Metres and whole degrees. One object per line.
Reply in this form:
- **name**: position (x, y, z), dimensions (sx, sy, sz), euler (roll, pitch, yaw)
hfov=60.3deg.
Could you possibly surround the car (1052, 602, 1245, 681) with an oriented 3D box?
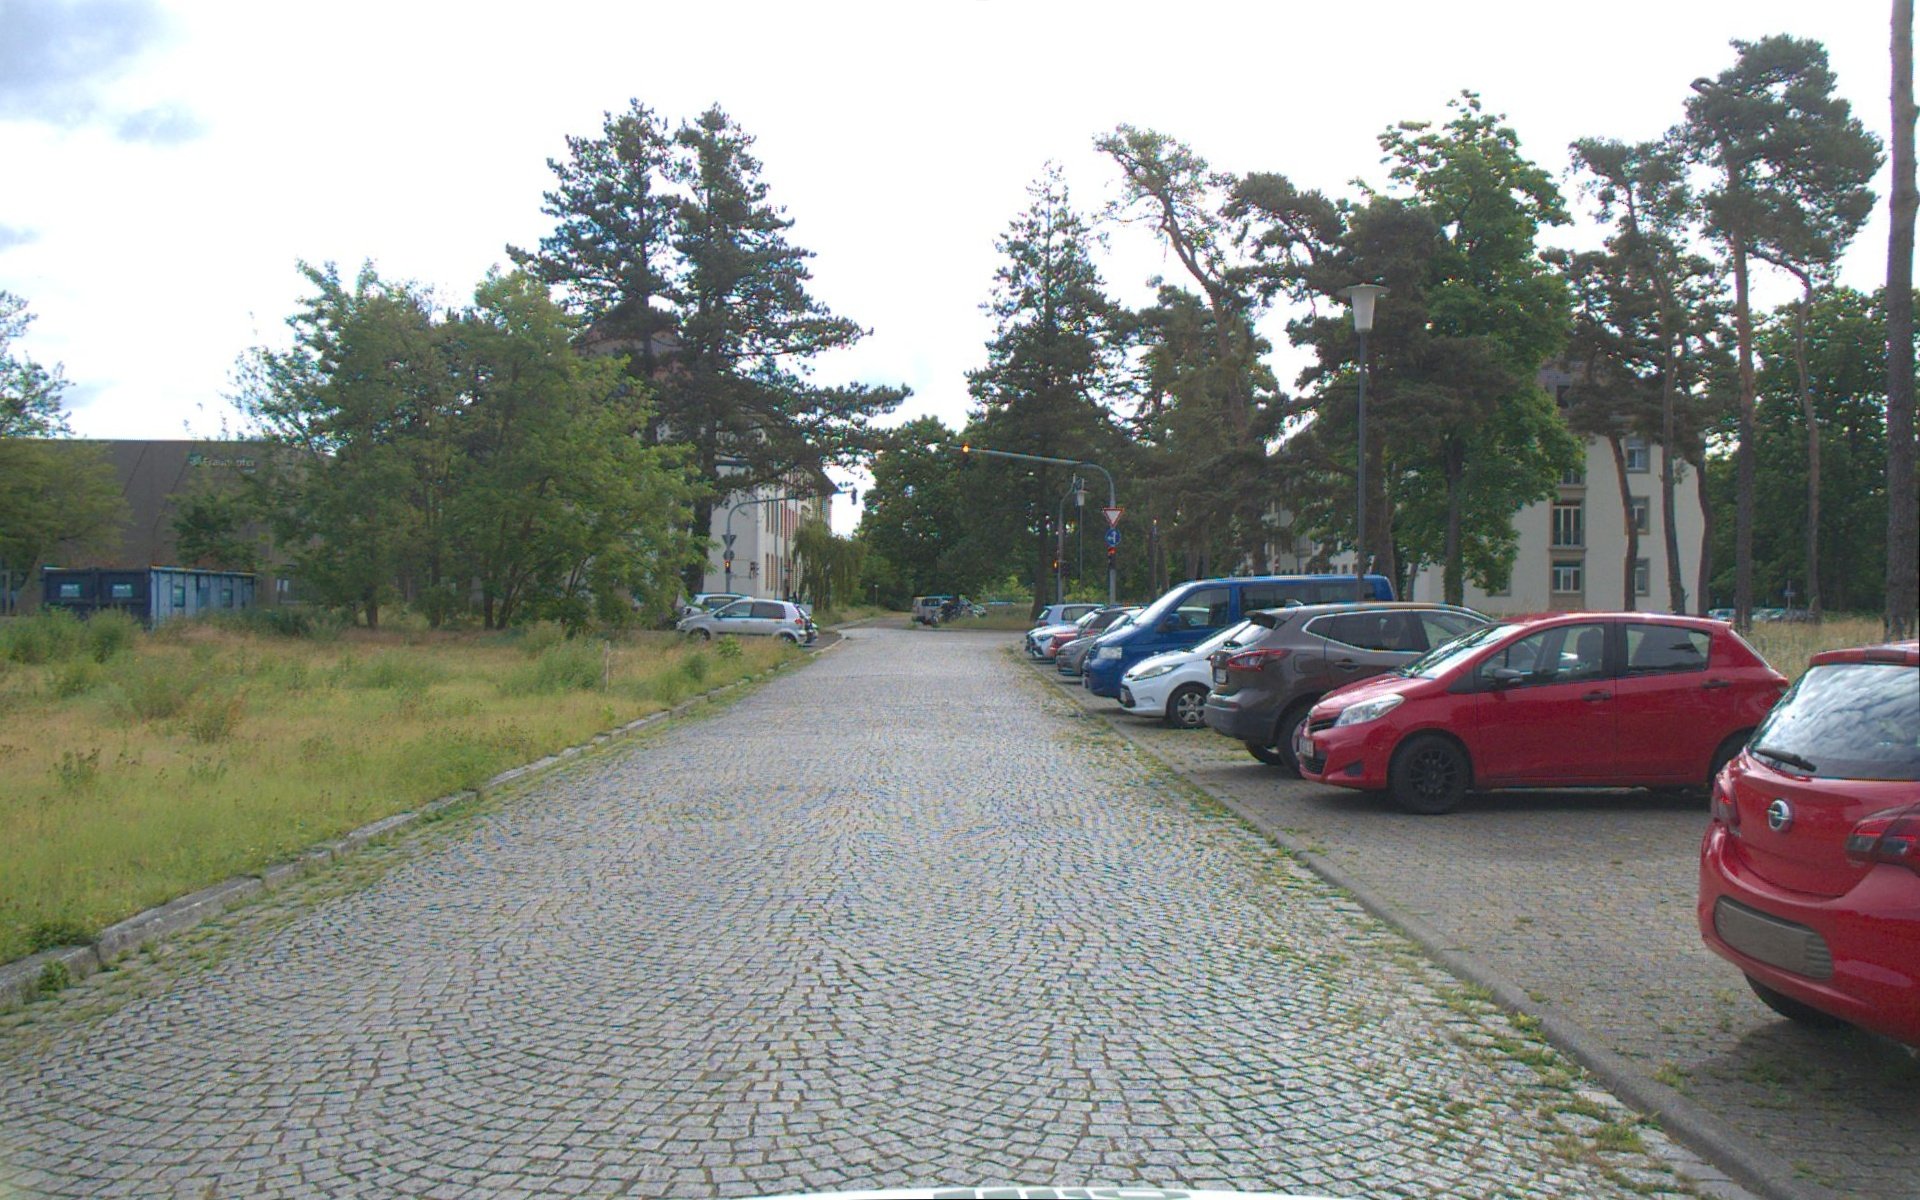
- **car**: position (3.716, 0.806, 32.893), dimensions (3.598, 1.475, 1.523), euler (-1, 0, -3)

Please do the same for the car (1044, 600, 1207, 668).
- **car**: position (3.833, 0.781, 38.590), dimensions (3.598, 1.475, 1.523), euler (-1, 0, -3)

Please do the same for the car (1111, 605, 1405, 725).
- **car**: position (3.944, 0.843, 22.247), dimensions (3.599, 1.475, 1.613), euler (-1, 0, -4)

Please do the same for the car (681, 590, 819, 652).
- **car**: position (-6.646, 0.664, 52.748), dimensions (4.176, 1.873, 1.743), euler (-1, -1, -2)

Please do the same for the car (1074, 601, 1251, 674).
- **car**: position (4.350, 0.800, 35.895), dimensions (3.598, 1.475, 1.523), euler (-1, 0, -3)

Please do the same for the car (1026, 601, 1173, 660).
- **car**: position (3.603, 0.794, 43.123), dimensions (3.601, 1.446, 1.522), euler (-1, 0, -6)

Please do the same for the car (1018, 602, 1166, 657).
- **car**: position (3.637, 0.806, 45.979), dimensions (3.891, 1.446, 1.618), euler (-1, 0, -6)

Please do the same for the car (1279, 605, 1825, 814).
- **car**: position (4.596, 0.820, 13.225), dimensions (3.715, 1.486, 1.750), euler (-1, 0, -1)

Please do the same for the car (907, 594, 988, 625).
- **car**: position (-0.864, 0.663, 115.375), dimensions (5.347, 2.049, 2.263), euler (1, 0, -10)

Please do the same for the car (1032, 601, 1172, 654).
- **car**: position (4.150, 0.796, 48.640), dimensions (3.891, 1.446, 1.618), euler (-1, 0, -6)

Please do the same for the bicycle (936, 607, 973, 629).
- **bicycle**: position (-0.328, 1.047, 97.474), dimensions (2.095, 1.236, 0.621), euler (1, 0, -6)

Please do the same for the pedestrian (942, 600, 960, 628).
- **pedestrian**: position (-0.528, 0.835, 97.814), dimensions (1.013, 1.642, 0.756), euler (1, 0, -6)

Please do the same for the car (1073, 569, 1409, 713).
- **car**: position (4.139, 0.593, 24.846), dimensions (4.659, 1.989, 1.930), euler (-1, 0, -3)

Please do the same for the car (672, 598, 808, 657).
- **car**: position (-6.250, 0.779, 47.352), dimensions (3.746, 1.600, 1.563), euler (-1, 0, -5)

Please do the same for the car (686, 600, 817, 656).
- **car**: position (-6.252, 0.823, 49.768), dimensions (3.744, 1.600, 1.564), euler (-1, 0, -2)

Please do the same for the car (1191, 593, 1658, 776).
- **car**: position (4.352, 0.764, 15.879), dimensions (3.949, 1.580, 1.750), euler (-1, 0, -4)

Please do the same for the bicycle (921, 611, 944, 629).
- **bicycle**: position (-1.537, 1.111, 93.379), dimensions (0.613, 0.961, 1.647), euler (1, 0, -28)

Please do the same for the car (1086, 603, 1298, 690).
- **car**: position (4.180, 0.836, 30.123), dimensions (3.598, 1.475, 1.523), euler (-1, 0, -3)

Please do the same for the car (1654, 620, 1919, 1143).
- **car**: position (4.624, 0.802, 5.644), dimensions (3.748, 1.486, 1.779), euler (-1, 0, -2)
